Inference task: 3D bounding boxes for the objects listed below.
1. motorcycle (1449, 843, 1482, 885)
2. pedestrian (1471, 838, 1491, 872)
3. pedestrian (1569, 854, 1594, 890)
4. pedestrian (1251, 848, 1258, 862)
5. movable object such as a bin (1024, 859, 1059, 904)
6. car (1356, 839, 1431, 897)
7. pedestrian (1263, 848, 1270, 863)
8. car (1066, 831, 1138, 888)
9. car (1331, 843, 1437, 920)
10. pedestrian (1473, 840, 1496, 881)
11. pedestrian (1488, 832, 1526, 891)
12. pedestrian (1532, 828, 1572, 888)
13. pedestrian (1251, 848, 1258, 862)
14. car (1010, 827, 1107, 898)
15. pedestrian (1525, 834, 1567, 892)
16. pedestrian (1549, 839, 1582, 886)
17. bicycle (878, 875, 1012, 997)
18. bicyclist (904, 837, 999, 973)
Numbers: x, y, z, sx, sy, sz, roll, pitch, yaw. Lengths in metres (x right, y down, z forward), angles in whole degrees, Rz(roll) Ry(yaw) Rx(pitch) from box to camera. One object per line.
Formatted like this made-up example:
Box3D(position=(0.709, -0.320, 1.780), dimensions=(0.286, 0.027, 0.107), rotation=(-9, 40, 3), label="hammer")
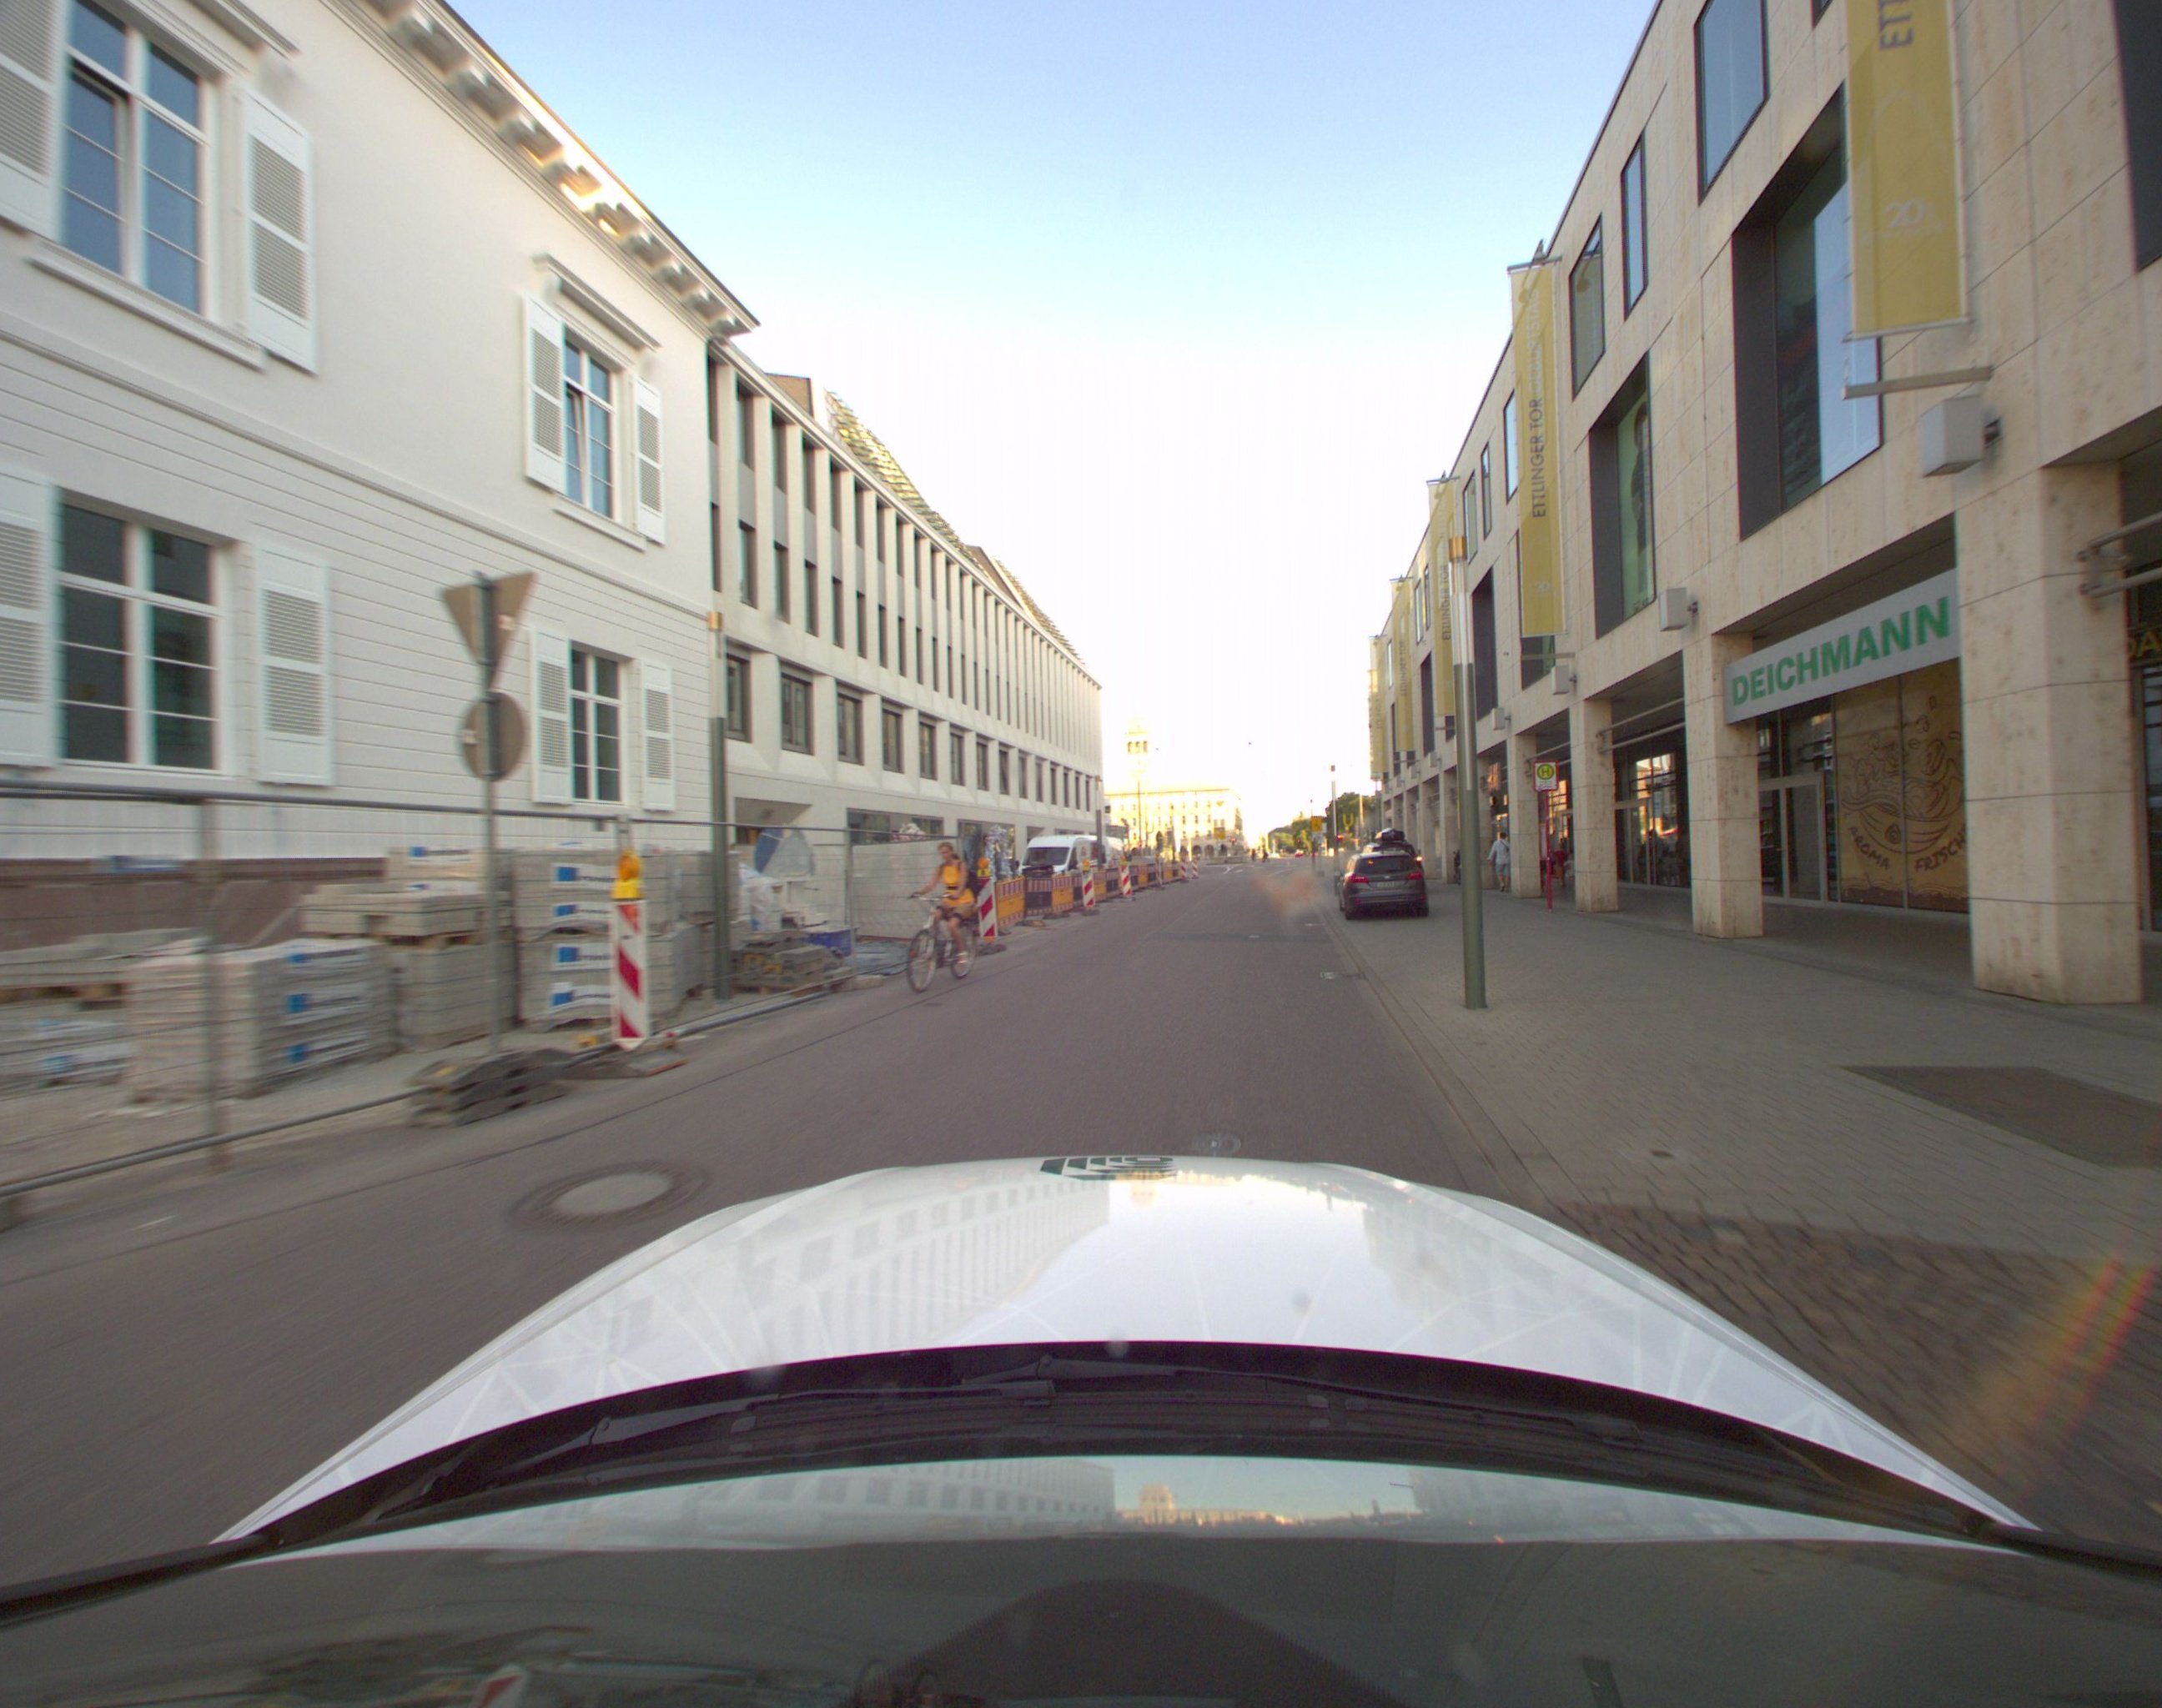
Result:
Box3D(position=(13.667, 0.342, 29.004), dimensions=(0.687, 1.416, 2.145), rotation=(-2, 0, 16), label="motorcycle")
Box3D(position=(18.138, 0.051, 36.917), dimensions=(0.629, 1.542, 0.778), rotation=(-1, 0, 13), label="pedestrian")
Box3D(position=(14.088, 0.508, 22.929), dimensions=(0.417, 0.986, 0.528), rotation=(-2, 1, 13), label="pedestrian")
Box3D(position=(23.026, 0.149, 107.997), dimensions=(0.733, 1.777, 0.866), rotation=(-4, -1, 12), label="pedestrian")
Box3D(position=(-1.320, 0.906, 27.725), dimensions=(1.039, 1.466, 1.395), rotation=(-1, 0, 2), label="movable object such as a bin")
Box3D(position=(10.253, 0.437, 26.980), dimensions=(1.755, 1.638, 4.073), rotation=(-5, -1, 14), label="car")
Box3D(position=(23.856, 0.190, 104.898), dimensions=(0.733, 1.777, 0.866), rotation=(-4, -1, 13), label="pedestrian")
Box3D(position=(1.119, 0.244, 39.080), dimensions=(2.158, 2.470, 6.022), rotation=(-2, 0, 14), label="car")
Box3D(position=(7.014, 0.572, 19.236), dimensions=(1.782, 1.490, 4.209), rotation=(-5, -1, 14), label="car")
Box3D(position=(15.895, 0.238, 32.085), dimensions=(0.629, 1.567, 0.778), rotation=(-2, 1, 13), label="pedestrian")
Box3D(position=(12.429, 0.212, 23.802), dimensions=(0.759, 1.681, 0.880), rotation=(-2, 1, 13), label="pedestrian")
Box3D(position=(13.565, 0.098, 23.480), dimensions=(0.759, 1.681, 0.880), rotation=(-2, 1, 13), label="pedestrian")
Box3D(position=(22.822, 0.140, 107.305), dimensions=(0.733, 1.777, 0.866), rotation=(-4, -1, 13), label="pedestrian")
Box3D(position=(-0.709, 0.283, 31.825), dimensions=(2.158, 2.470, 6.022), rotation=(-2, 0, 14), label="car")
Box3D(position=(13.023, 0.240, 22.833), dimensions=(0.759, 1.567, 0.880), rotation=(-2, 1, 13), label="pedestrian")
Box3D(position=(14.472, 0.246, 24.345), dimensions=(0.629, 1.345, 0.778), rotation=(-2, 1, 13), label="pedestrian")
Box3D(position=(-1.539, 0.903, 9.722), dimensions=(0.791, 1.217, 2.240), rotation=(-2, 0, 11), label="bicycle")
Box3D(position=(-1.525, 0.581, 9.749), dimensions=(0.791, 1.532, 0.977), rotation=(-2, 0, 11), label="bicyclist")
